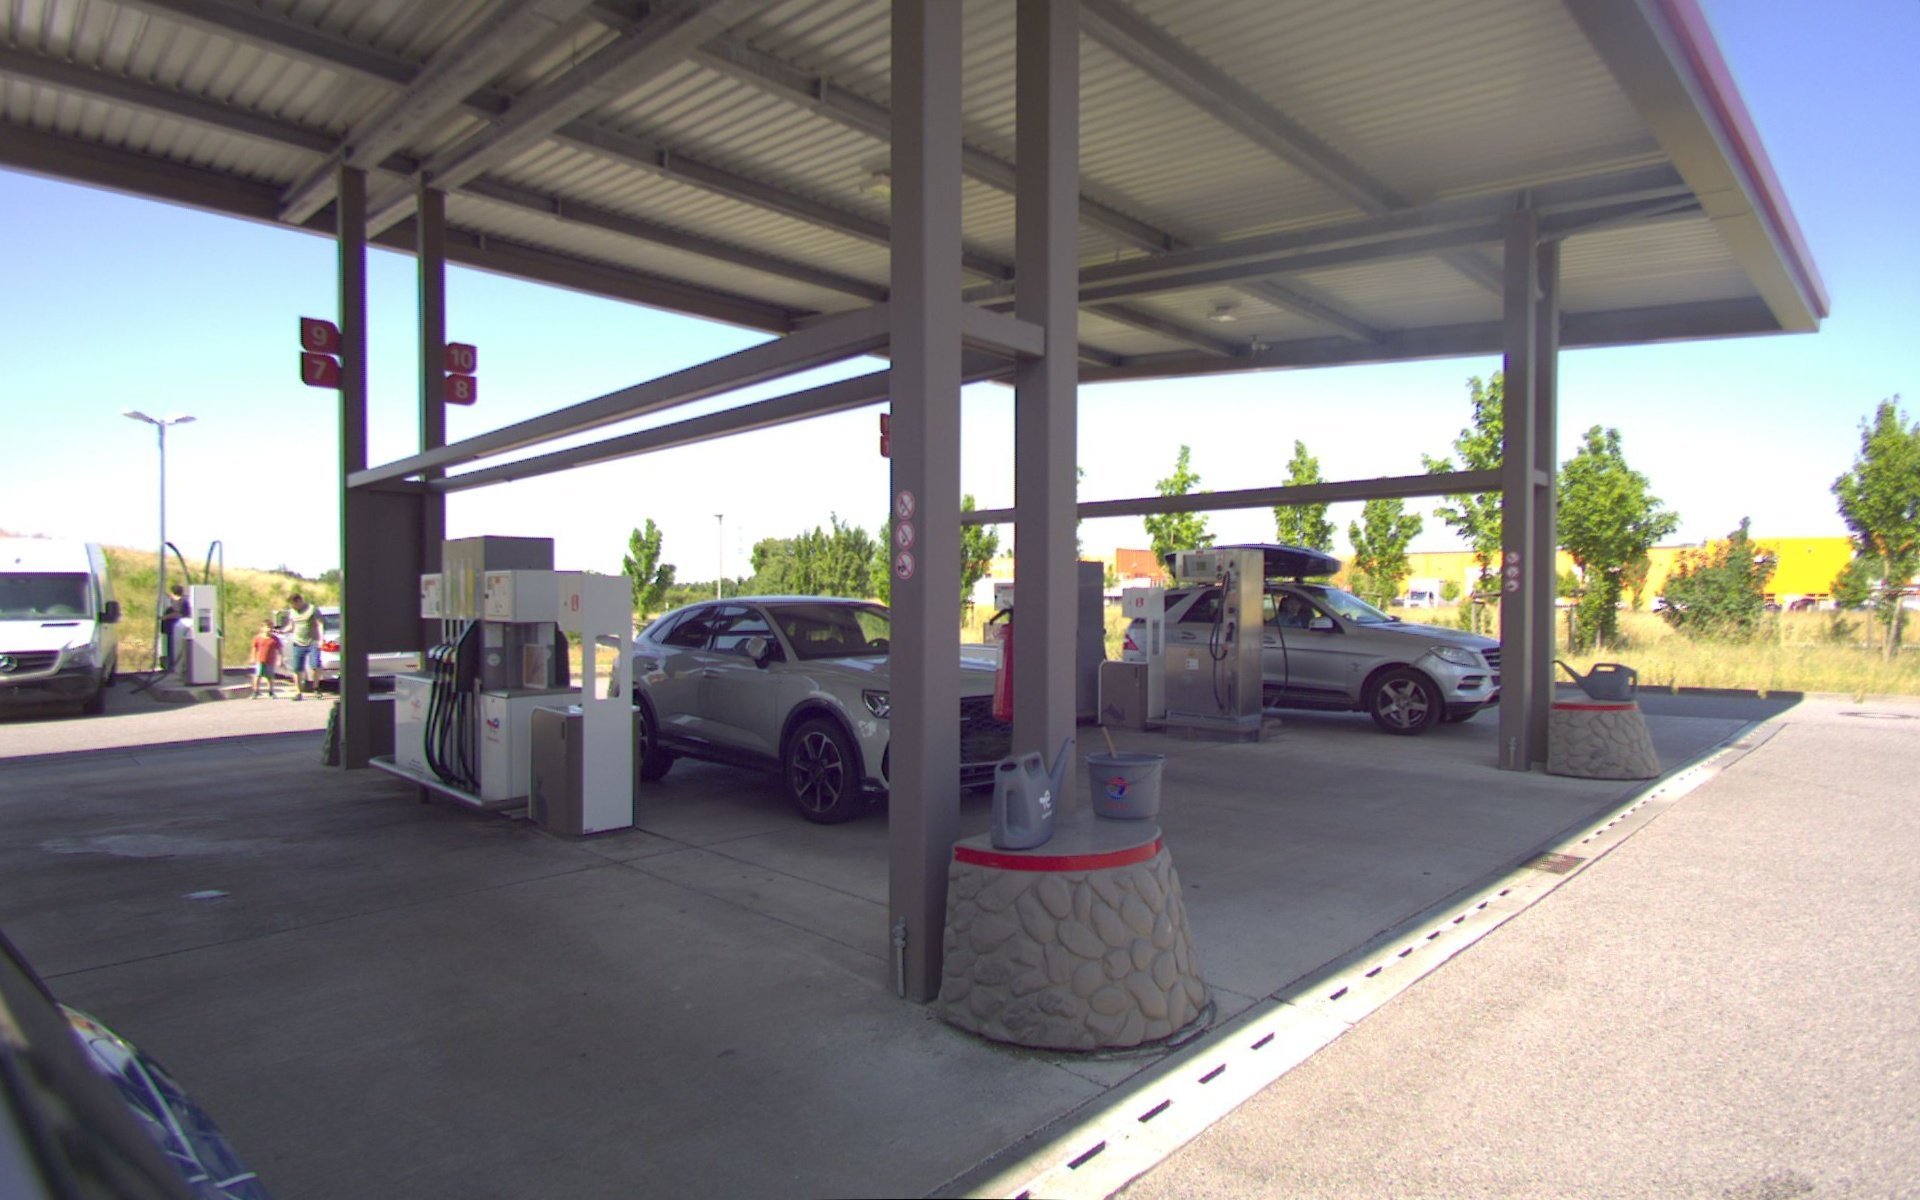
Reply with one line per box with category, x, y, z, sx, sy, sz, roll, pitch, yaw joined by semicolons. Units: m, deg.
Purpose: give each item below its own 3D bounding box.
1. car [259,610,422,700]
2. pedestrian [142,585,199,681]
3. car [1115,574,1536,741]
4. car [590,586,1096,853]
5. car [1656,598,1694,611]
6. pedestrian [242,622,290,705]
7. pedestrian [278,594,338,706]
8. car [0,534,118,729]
car;-11.734;0.940;19.043;1.766;1.439;4.326;0;0;-43
pedestrian;-15.094;0.620;19.348;0.832;1.783;0.710;0;-1;-41
car;4.333;0.619;12.481;4.534;1.700;1.840;-1;-1;42
car;-1.174;0.726;8.080;1.759;1.553;4.329;0;-1;-44
car;74.019;0.524;104.775;1.463;1.309;2.949;1;-1;-42
pedestrian;-11.406;1.026;16.633;0.569;1.316;0.670;0;-1;-42
pedestrian;-10.605;0.793;16.464;0.698;1.762;0.846;0;-1;-42
car;-14.904;0.340;16.177;1.968;2.590;7.046;1;1;-38
